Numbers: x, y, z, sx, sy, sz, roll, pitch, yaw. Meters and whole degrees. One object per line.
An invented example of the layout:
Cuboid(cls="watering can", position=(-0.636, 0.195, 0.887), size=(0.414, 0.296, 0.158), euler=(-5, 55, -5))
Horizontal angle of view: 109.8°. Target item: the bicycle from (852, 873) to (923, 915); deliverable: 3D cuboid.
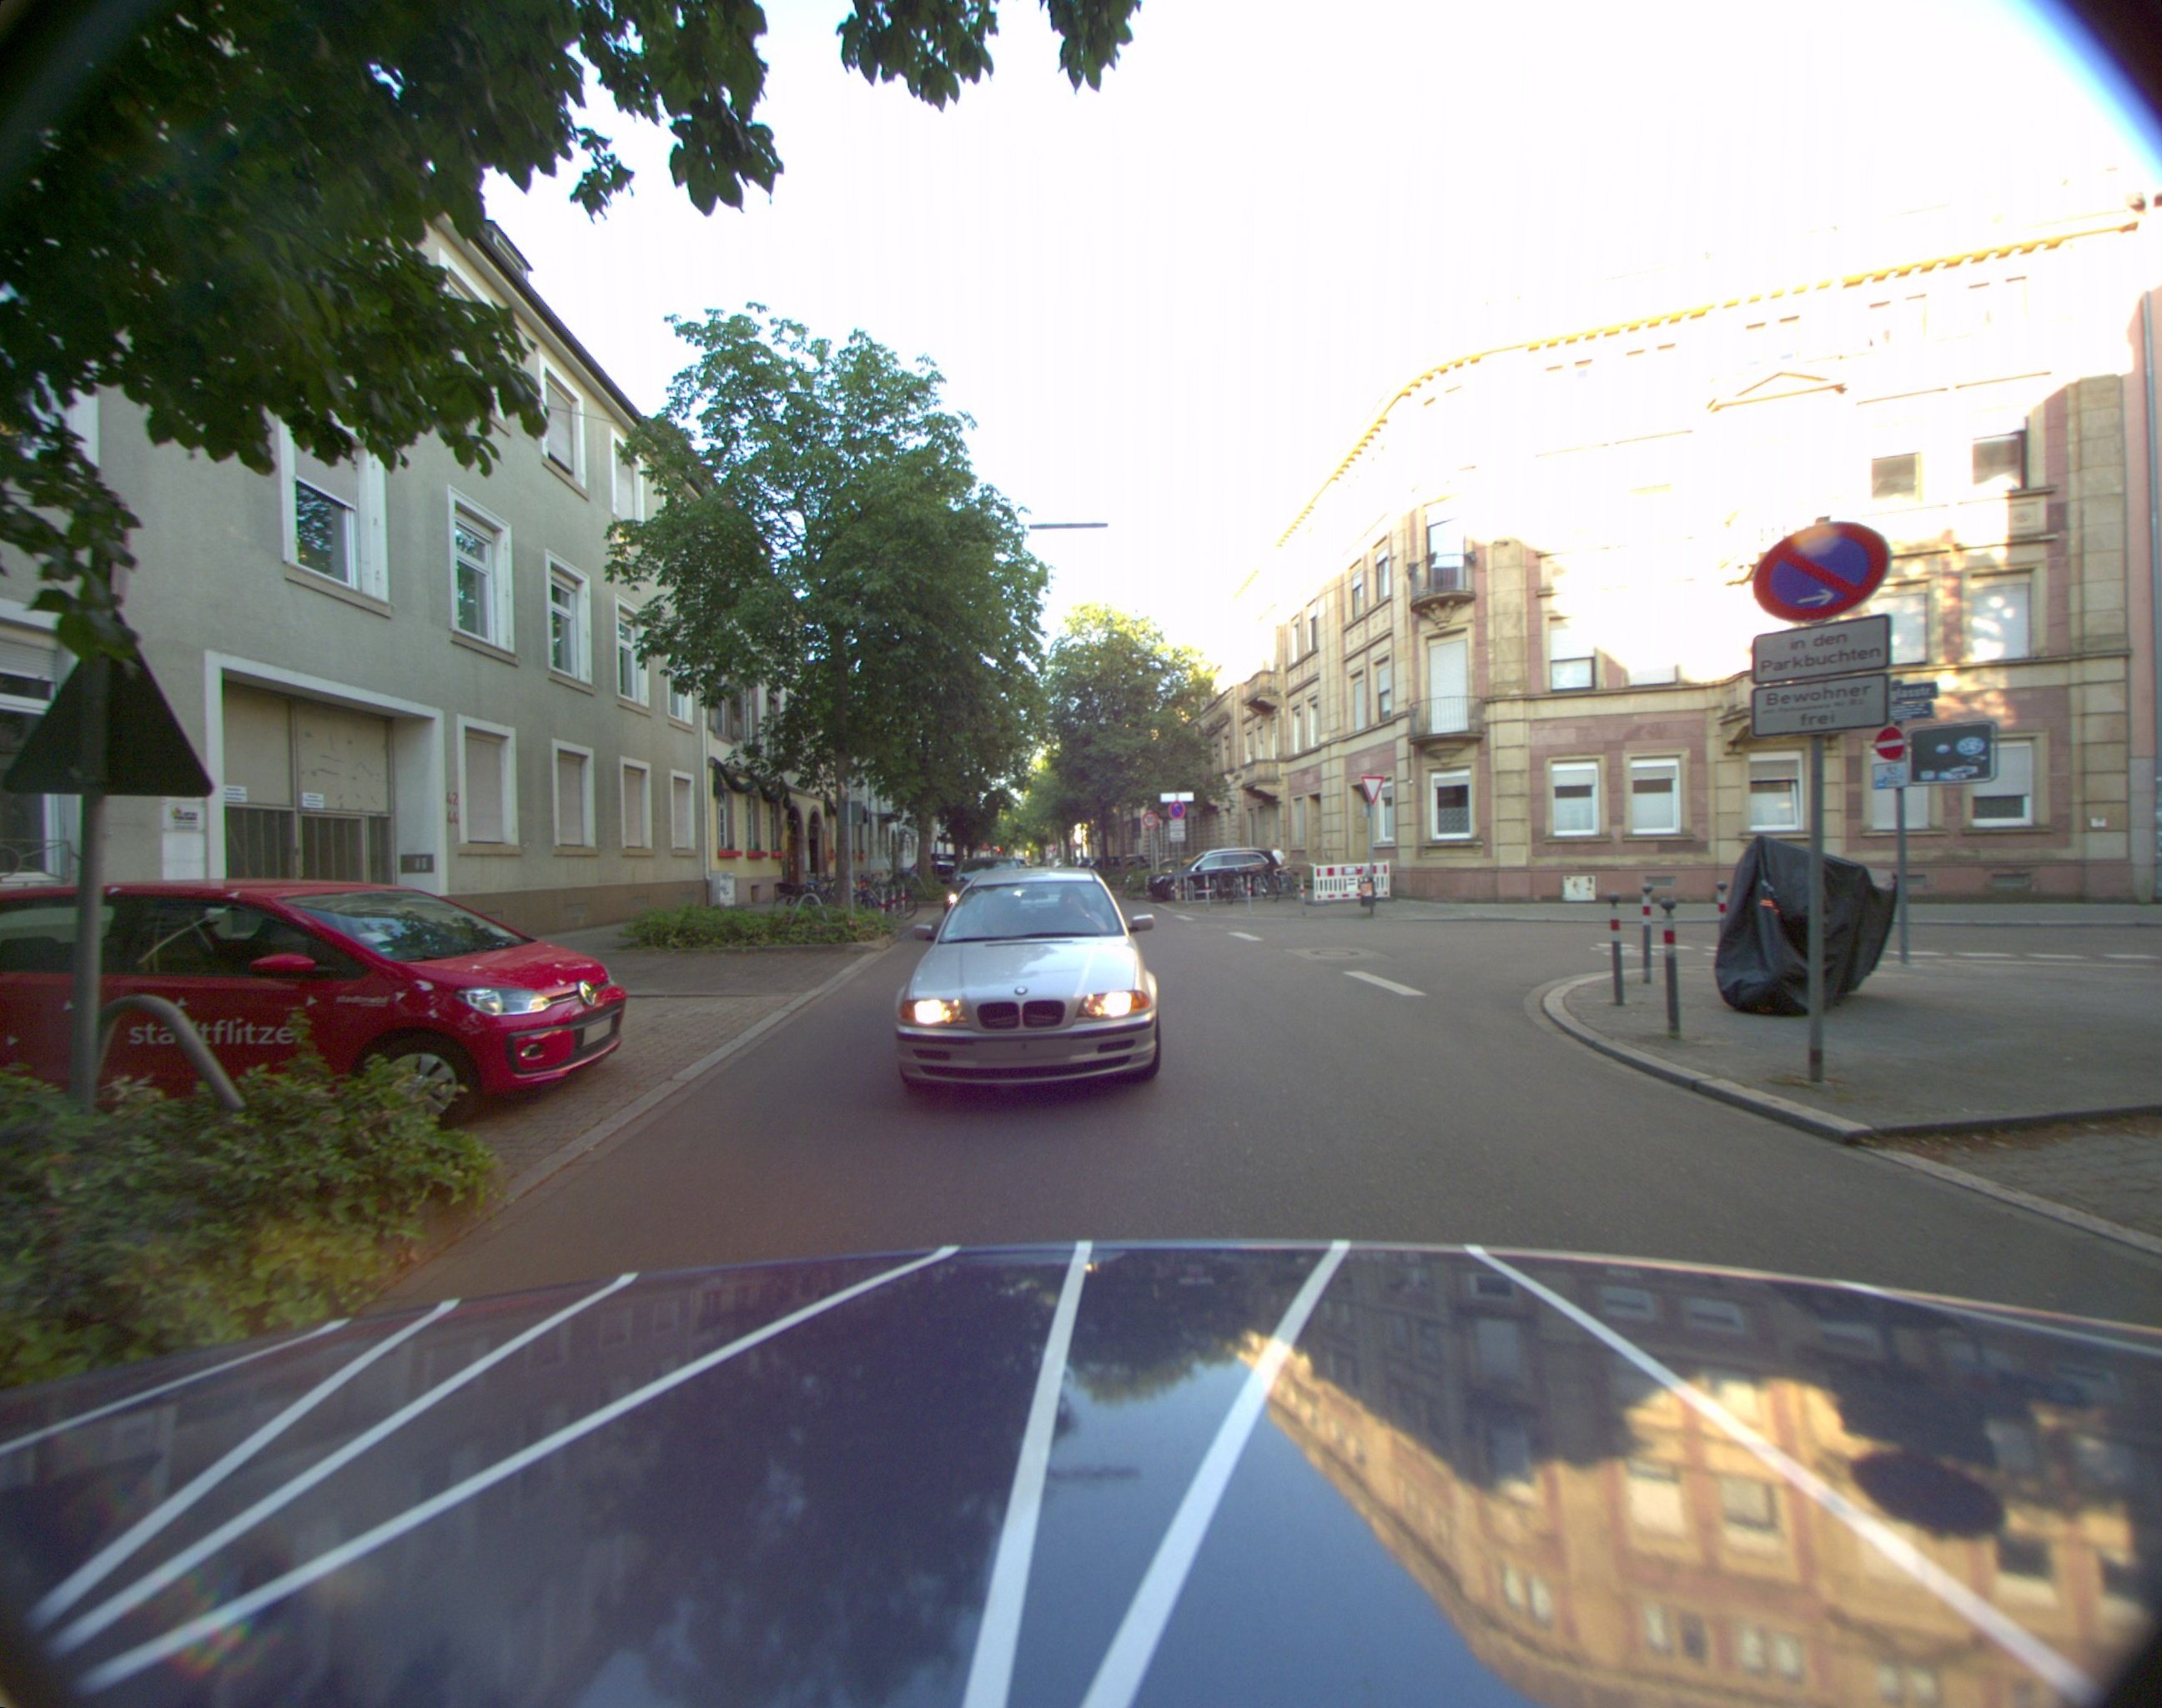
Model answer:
Cuboid(cls="bicycle", position=(-5.907, 1.220, 23.271), size=(2.029, 1.220, 0.535), euler=(-1, 1, -10))

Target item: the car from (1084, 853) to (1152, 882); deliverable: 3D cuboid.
Cuboid(cls="car", position=(2.386, 0.861, 49.707), size=(4.244, 1.749, 1.741), euler=(-1, 0, -3))

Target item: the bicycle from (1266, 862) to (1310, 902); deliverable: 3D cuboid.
Cuboid(cls="bicycle", position=(6.253, 0.821, 23.064), size=(0.562, 1.144, 2.038), euler=(-1, 0, -7))

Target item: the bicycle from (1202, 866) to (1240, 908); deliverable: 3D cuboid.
Cuboid(cls="bicycle", position=(4.200, 0.967, 22.944), size=(0.562, 1.144, 2.039), euler=(-1, 0, -5))

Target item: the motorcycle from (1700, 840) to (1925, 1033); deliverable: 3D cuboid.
Cuboid(cls="motorcycle", position=(6.640, 0.642, 6.869), size=(2.286, 1.496, 0.816), euler=(-1, 1, -29))

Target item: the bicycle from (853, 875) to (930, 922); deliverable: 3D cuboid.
Cuboid(cls="bicycle", position=(-5.241, 1.220, 21.107), size=(2.029, 1.220, 0.535), euler=(-1, 1, -10))

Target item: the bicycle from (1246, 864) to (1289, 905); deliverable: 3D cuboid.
Cuboid(cls="bicycle", position=(5.634, 0.901, 23.026), size=(0.562, 1.144, 2.038), euler=(-1, 0, -7))

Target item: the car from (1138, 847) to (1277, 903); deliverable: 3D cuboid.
Cuboid(cls="car", position=(4.240, 0.698, 25.955), size=(4.423, 1.771, 1.742), euler=(-1, 0, -2))

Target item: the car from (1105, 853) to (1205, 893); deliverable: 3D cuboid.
Cuboid(cls="car", position=(3.189, 0.810, 33.394), size=(4.243, 1.668, 1.742), euler=(-1, 0, 0))

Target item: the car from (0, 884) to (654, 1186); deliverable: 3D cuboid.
Cuboid(cls="car", position=(-5.063, 1.003, 4.899), size=(3.621, 1.468, 1.664), euler=(-1, 0, -6))

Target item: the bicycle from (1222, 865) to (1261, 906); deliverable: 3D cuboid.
Cuboid(cls="bicycle", position=(4.840, 0.923, 23.000), size=(0.562, 1.144, 2.039), euler=(-1, 0, -5))

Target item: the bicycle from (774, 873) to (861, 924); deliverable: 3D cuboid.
Cuboid(cls="bicycle", position=(-6.651, 1.111, 19.244), size=(2.030, 1.220, 0.535), euler=(-1, 1, -15))

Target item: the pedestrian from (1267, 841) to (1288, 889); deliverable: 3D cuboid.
Cuboid(cls="pedestrian", position=(7.502, 0.400, 29.025), size=(0.573, 1.797, 0.651), euler=(-1, 1, 0))

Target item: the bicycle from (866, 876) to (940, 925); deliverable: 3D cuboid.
Cuboid(cls="bicycle", position=(-4.642, 1.196, 19.855), size=(1.849, 1.220, 0.535), euler=(-1, 1, -15))

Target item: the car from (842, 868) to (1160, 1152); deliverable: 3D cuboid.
Cuboid(cls="car", position=(-0.365, 0.903, 6.369), size=(1.711, 1.433, 4.436), euler=(-1, 0, 2))

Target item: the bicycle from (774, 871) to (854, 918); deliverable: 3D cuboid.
Cuboid(cls="bicycle", position=(-7.396, 1.118, 21.108), size=(2.029, 1.220, 0.535), euler=(-1, 1, -11))

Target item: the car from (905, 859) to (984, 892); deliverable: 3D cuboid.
Cuboid(cls="car", position=(-7.706, 1.181, 43.192), size=(4.245, 1.729, 1.741), euler=(-1, 0, -5))

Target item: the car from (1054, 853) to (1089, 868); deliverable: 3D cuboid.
Cuboid(cls="car", position=(-1.207, 0.841, 93.943), size=(4.244, 1.749, 1.741), euler=(-1, 0, -3))

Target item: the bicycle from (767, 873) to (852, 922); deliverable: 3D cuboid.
Cuboid(cls="bicycle", position=(-7.097, 1.120, 19.955), size=(2.030, 1.220, 0.535), euler=(-1, 1, -15))

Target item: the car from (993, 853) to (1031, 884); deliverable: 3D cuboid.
Cuboid(cls="car", position=(-3.595, 0.733, 40.189), size=(1.806, 1.543, 3.999), euler=(-1, 0, -3))

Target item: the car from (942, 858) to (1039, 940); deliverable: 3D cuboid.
Cuboid(cls="car", position=(-1.853, 0.877, 16.678), size=(1.806, 1.543, 3.999), euler=(-1, 0, -3))

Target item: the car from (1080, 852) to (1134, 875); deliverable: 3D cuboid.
Cuboid(cls="car", position=(2.083, 0.754, 62.187), size=(4.244, 1.749, 1.741), euler=(-1, 0, -3))

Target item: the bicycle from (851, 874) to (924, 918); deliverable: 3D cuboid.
Cuboid(cls="bicycle", position=(-5.683, 1.222, 22.397), size=(2.029, 1.220, 0.535), euler=(-1, 1, -10))
